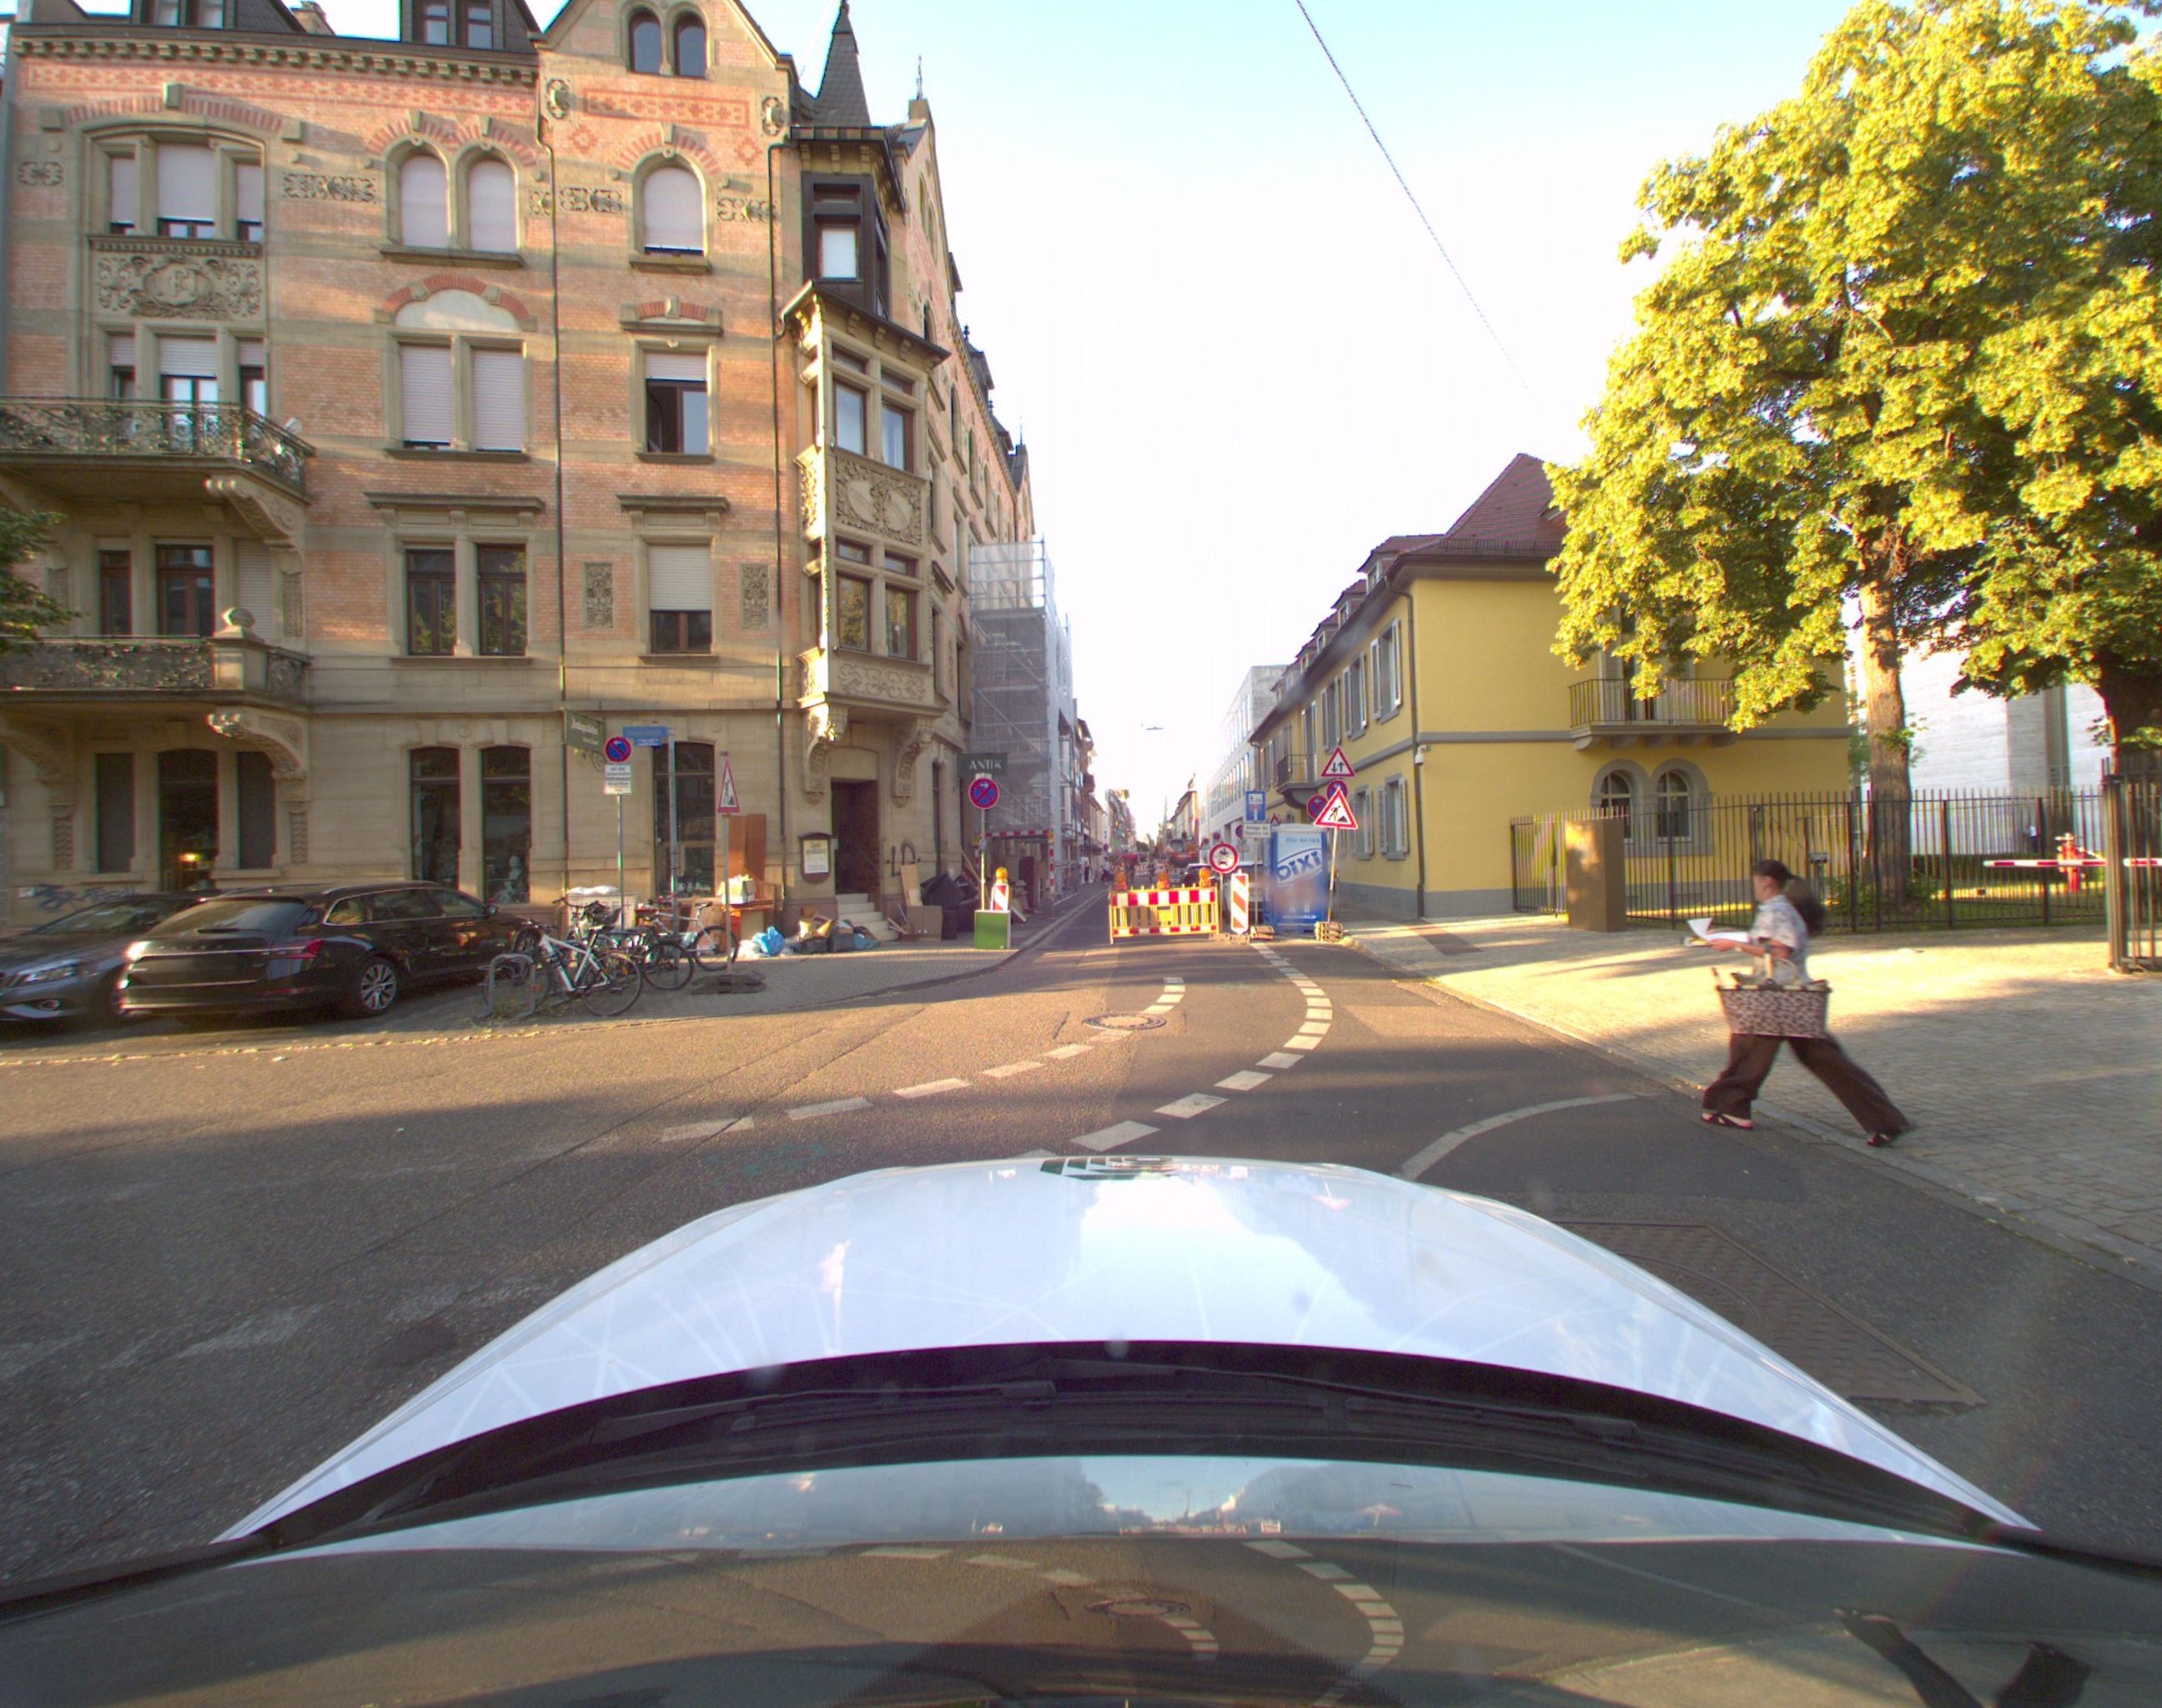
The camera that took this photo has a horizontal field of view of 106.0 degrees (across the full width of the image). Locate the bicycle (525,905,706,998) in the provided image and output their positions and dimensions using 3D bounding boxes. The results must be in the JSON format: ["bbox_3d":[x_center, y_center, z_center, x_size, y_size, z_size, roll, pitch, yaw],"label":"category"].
[{"bbox_3d":[-5.769,1.194,10.170,1.824,1.014,0.638,-2,-1,-7],"label":"bicycle"}]

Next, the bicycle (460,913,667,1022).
[{"bbox_3d":[-5.603,1.217,8.884,1.822,1.047,0.571,-1,0,-3],"label":"bicycle"}]

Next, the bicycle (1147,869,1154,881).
[{"bbox_3d":[5.189,1.550,60.984,0.502,0.884,1.478,-2,0,5],"label":"bicycle"}]

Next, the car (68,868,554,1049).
[{"bbox_3d":[-8.811,1.030,10.072,1.902,1.511,4.533,-2,1,-5],"label":"car"}]

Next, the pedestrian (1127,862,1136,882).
[{"bbox_3d":[3.791,1.370,61.091,0.501,1.461,0.514,-2,-1,11],"label":"pedestrian"}]

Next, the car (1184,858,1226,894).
[{"bbox_3d":[5.637,0.985,37.317,1.709,1.520,3.226,-2,0,5],"label":"car"}]

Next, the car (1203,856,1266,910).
[{"bbox_3d":[4.749,0.849,25.660,1.533,1.520,3.984,-2,0,5],"label":"car"}]

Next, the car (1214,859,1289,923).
[{"bbox_3d":[4.338,0.891,21.059,1.533,1.520,3.226,0,0,5],"label":"car"}]

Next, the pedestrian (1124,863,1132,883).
[{"bbox_3d":[3.392,1.358,58.407,0.502,1.461,0.513,-2,-1,5],"label":"pedestrian"}]

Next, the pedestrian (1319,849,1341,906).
[{"bbox_3d":[7.172,0.669,23.467,0.464,1.595,0.674,-2,-1,7],"label":"pedestrian"}]

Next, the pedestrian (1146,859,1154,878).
[{"bbox_3d":[5.175,1.079,60.910,0.502,1.461,0.513,-2,-1,5],"label":"pedestrian"}]

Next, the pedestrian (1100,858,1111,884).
[{"bbox_3d":[1.639,1.159,54.884,0.508,1.764,0.507,-1,-1,-37],"label":"pedestrian"}]

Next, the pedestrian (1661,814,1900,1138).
[{"bbox_3d":[4.029,0.631,4.730,0.948,1.659,0.643,-2,-1,43],"label":"pedestrian"}]

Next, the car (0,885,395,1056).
[{"bbox_3d":[-11.375,1.266,10.252,1.859,1.479,4.533,-2,0,-5],"label":"car"}]

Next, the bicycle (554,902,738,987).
[{"bbox_3d":[-5.871,1.207,11.085,2.101,1.014,0.638,-2,-1,-7],"label":"bicycle"}]

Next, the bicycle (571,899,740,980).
[{"bbox_3d":[-6.111,1.222,11.772,2.101,1.040,0.464,-2,-1,-7],"label":"bicycle"}]

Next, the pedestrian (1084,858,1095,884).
[{"bbox_3d":[0.568,1.164,55.428,0.673,1.733,0.700,-1,-1,1],"label":"pedestrian"}]
